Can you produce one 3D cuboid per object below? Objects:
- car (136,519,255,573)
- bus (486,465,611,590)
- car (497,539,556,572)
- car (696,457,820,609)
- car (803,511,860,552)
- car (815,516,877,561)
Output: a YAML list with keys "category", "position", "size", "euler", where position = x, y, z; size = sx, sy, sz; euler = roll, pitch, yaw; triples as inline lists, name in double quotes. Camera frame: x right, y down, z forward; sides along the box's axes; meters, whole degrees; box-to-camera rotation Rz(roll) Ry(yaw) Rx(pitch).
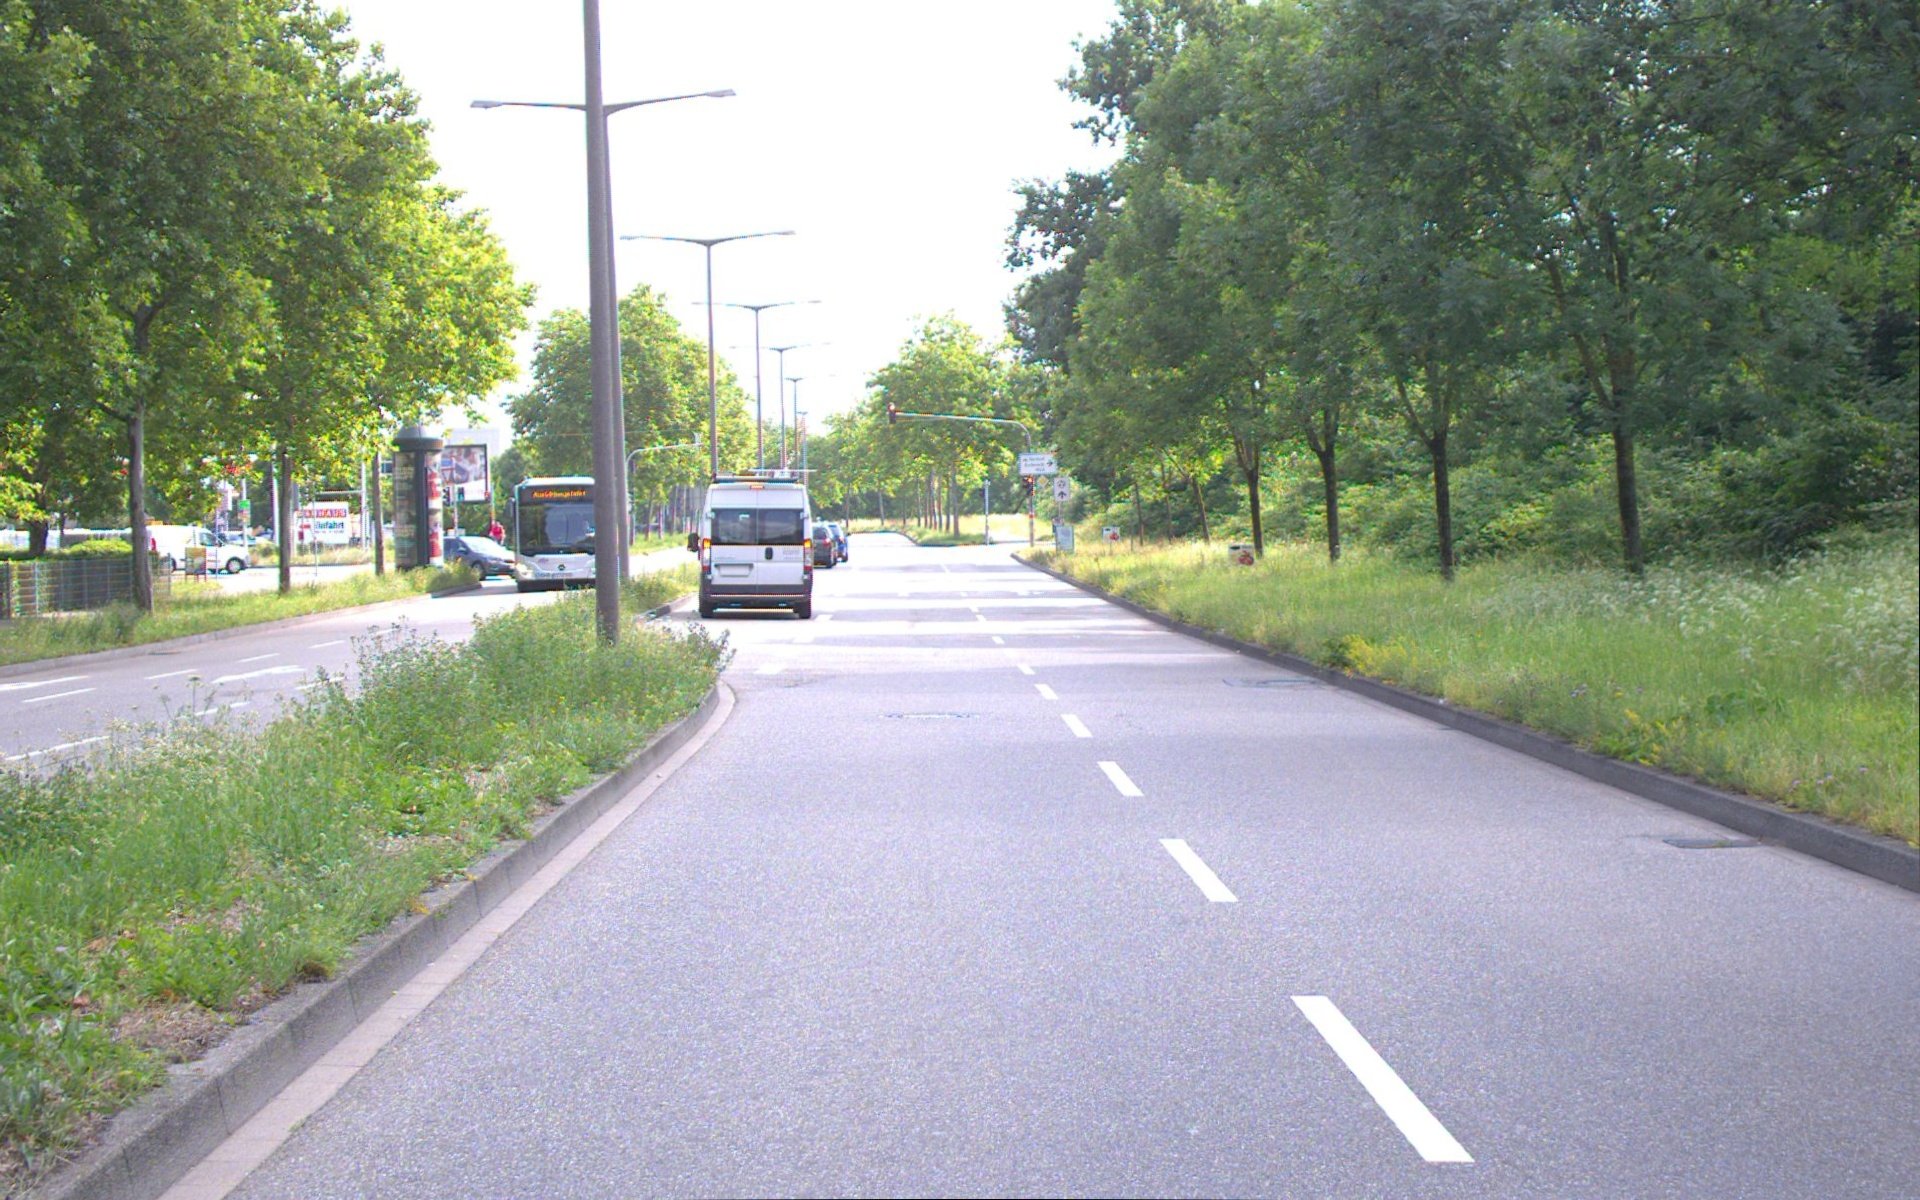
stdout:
- category: "car"
  position: [-29.020, -2.029, 130.482]
  size: [3.988, 1.832, 1.864]
  euler: [2, -3, -40]
- category: "bus"
  position: [-11.721, -2.015, 98.874]
  size: [3.109, 3.263, 12.340]
  euler: [-2, 1, -5]
- category: "car"
  position: [-14.414, -1.484, 114.505]
  size: [1.559, 1.037, 3.414]
  euler: [-1, 1, -1]
- category: "car"
  position: [-3.803, -1.249, 64.250]
  size: [2.197, 2.717, 4.932]
  euler: [1, 1, -4]
- category: "car"
  position: [-4.804, -2.554, 128.083]
  size: [1.806, 1.465, 3.857]
  euler: [-1, 1, -6]
- category: "car"
  position: [-3.874, -2.066, 116.303]
  size: [1.806, 1.465, 3.857]
  euler: [-1, 1, -6]
